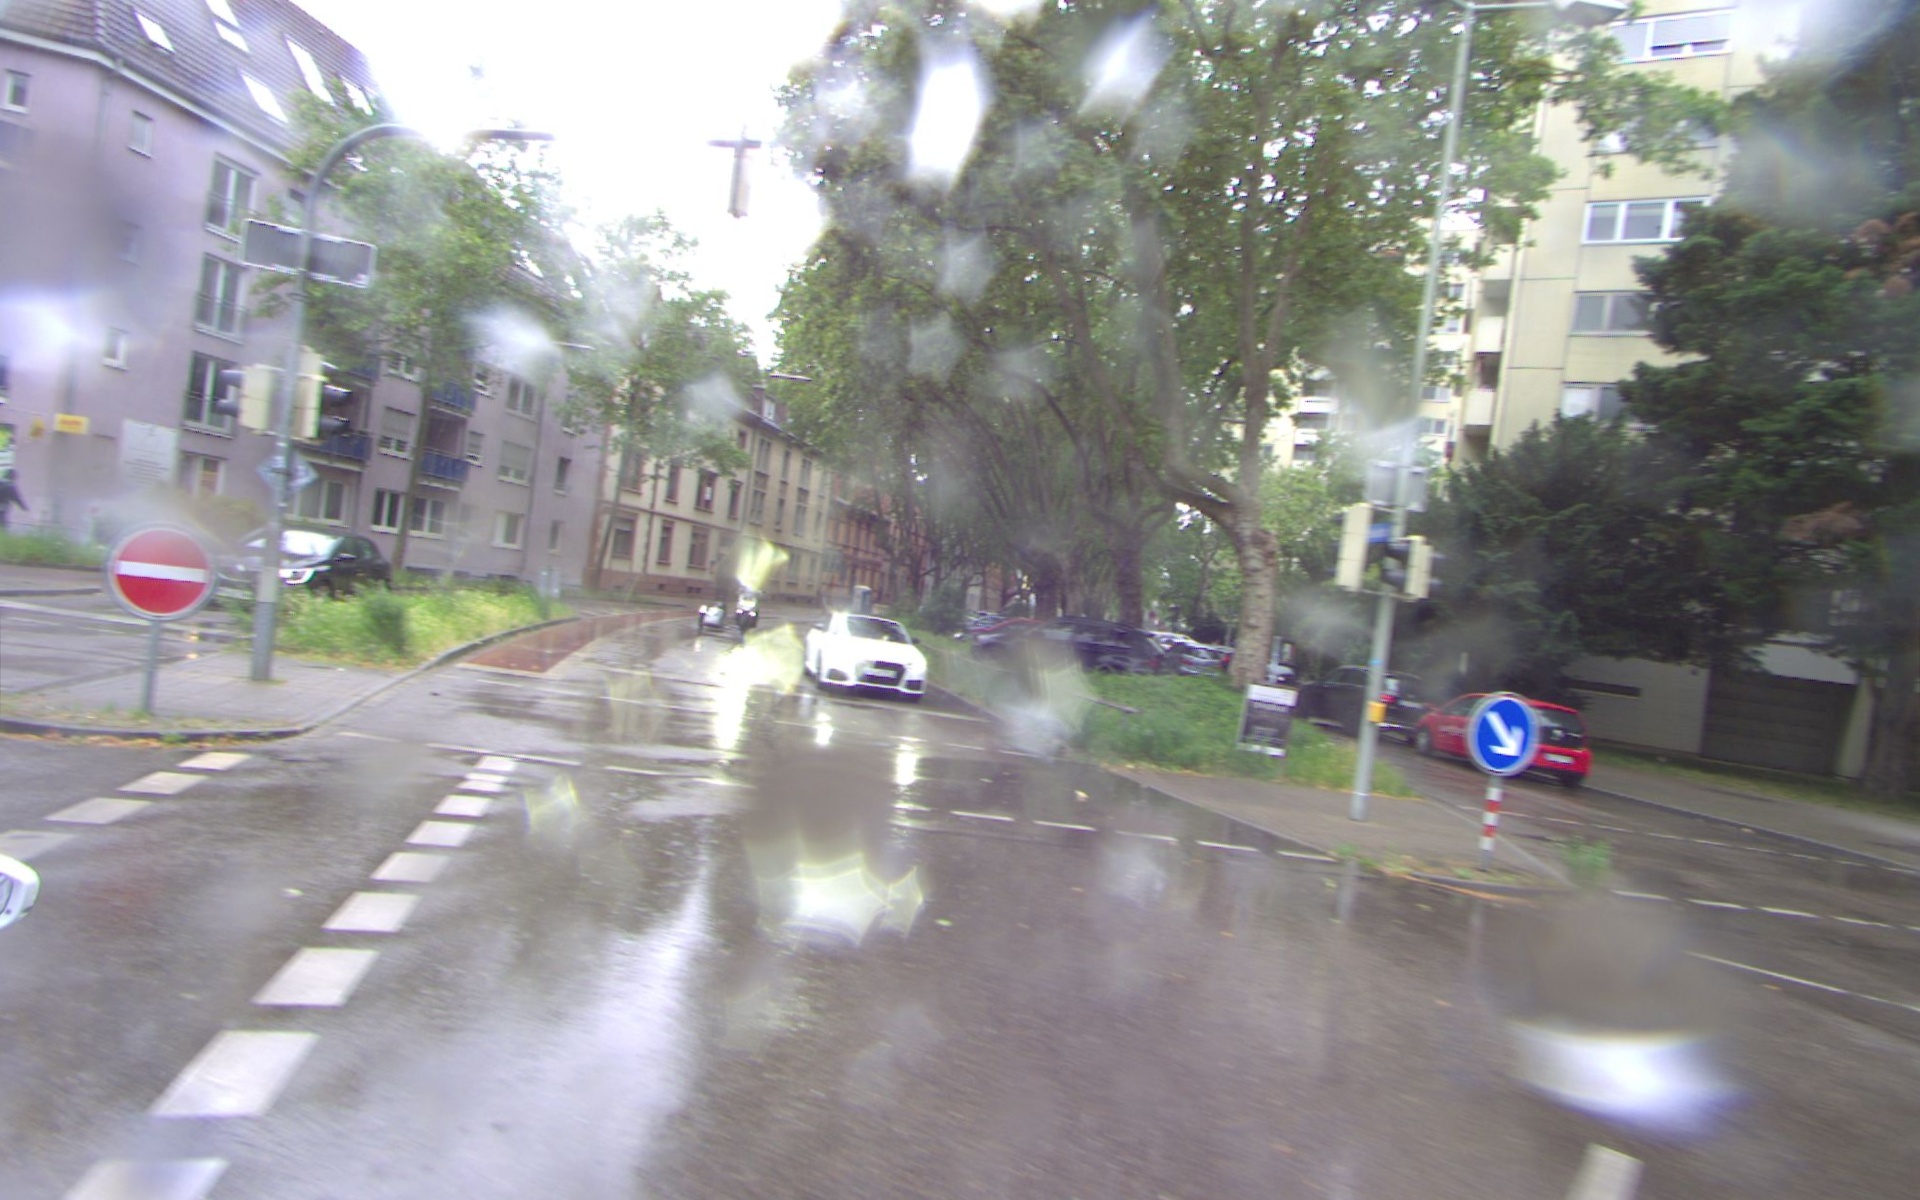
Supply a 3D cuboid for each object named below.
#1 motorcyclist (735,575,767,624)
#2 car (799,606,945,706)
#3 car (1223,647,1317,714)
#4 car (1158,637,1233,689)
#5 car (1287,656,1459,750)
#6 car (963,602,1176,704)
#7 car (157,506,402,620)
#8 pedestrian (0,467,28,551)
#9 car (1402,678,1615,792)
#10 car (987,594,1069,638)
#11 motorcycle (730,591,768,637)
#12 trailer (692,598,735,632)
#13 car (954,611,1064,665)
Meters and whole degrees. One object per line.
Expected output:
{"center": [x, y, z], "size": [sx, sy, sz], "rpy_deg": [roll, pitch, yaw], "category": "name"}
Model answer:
{"center": [-6.223, -0.015, 29.964], "size": [0.745, 1.367, 0.753], "rpy_deg": [7, 0, -10], "category": "motorcyclist"}
{"center": [-1.723, 0.922, 18.208], "size": [1.874, 1.290, 4.160], "rpy_deg": [8, -1, -14], "category": "car"}
{"center": [9.368, 2.386, 30.683], "size": [1.806, 1.615, 3.487], "rpy_deg": [8, -1, 4], "category": "car"}
{"center": [9.424, 2.495, 40.566], "size": [1.897, 1.653, 4.000], "rpy_deg": [8, -1, 0], "category": "car"}
{"center": [9.899, 2.417, 24.568], "size": [1.906, 1.627, 4.452], "rpy_deg": [8, -1, -5], "category": "car"}
{"center": [2.596, 1.212, 23.719], "size": [4.517, 1.684, 1.875], "rpy_deg": [8, 0, 20], "category": "car"}
{"center": [-11.537, -0.597, 17.466], "size": [1.963, 1.479, 4.167], "rpy_deg": [8, 0, -12], "category": "car"}
{"center": [-21.443, -2.041, 22.425], "size": [0.633, 1.827, 0.619], "rpy_deg": [7, 2, -16], "category": "pedestrian"}
{"center": [10.495, 2.533, 19.551], "size": [1.810, 1.543, 3.457], "rpy_deg": [8, -1, -7], "category": "car"}
{"center": [4.853, 1.114, 72.216], "size": [2.221, 2.430, 5.533], "rpy_deg": [7, 0, -45], "category": "car"}
{"center": [-6.238, 0.392, 29.860], "size": [0.866, 1.229, 2.071], "rpy_deg": [8, 0, -10], "category": "motorcycle"}
{"center": [-7.252, 0.429, 29.694], "size": [1.010, 0.852, 1.480], "rpy_deg": [8, 0, -9], "category": "trailer"}
{"center": [1.855, 1.376, 37.278], "size": [3.770, 1.440, 1.886], "rpy_deg": [8, 1, 8], "category": "car"}
